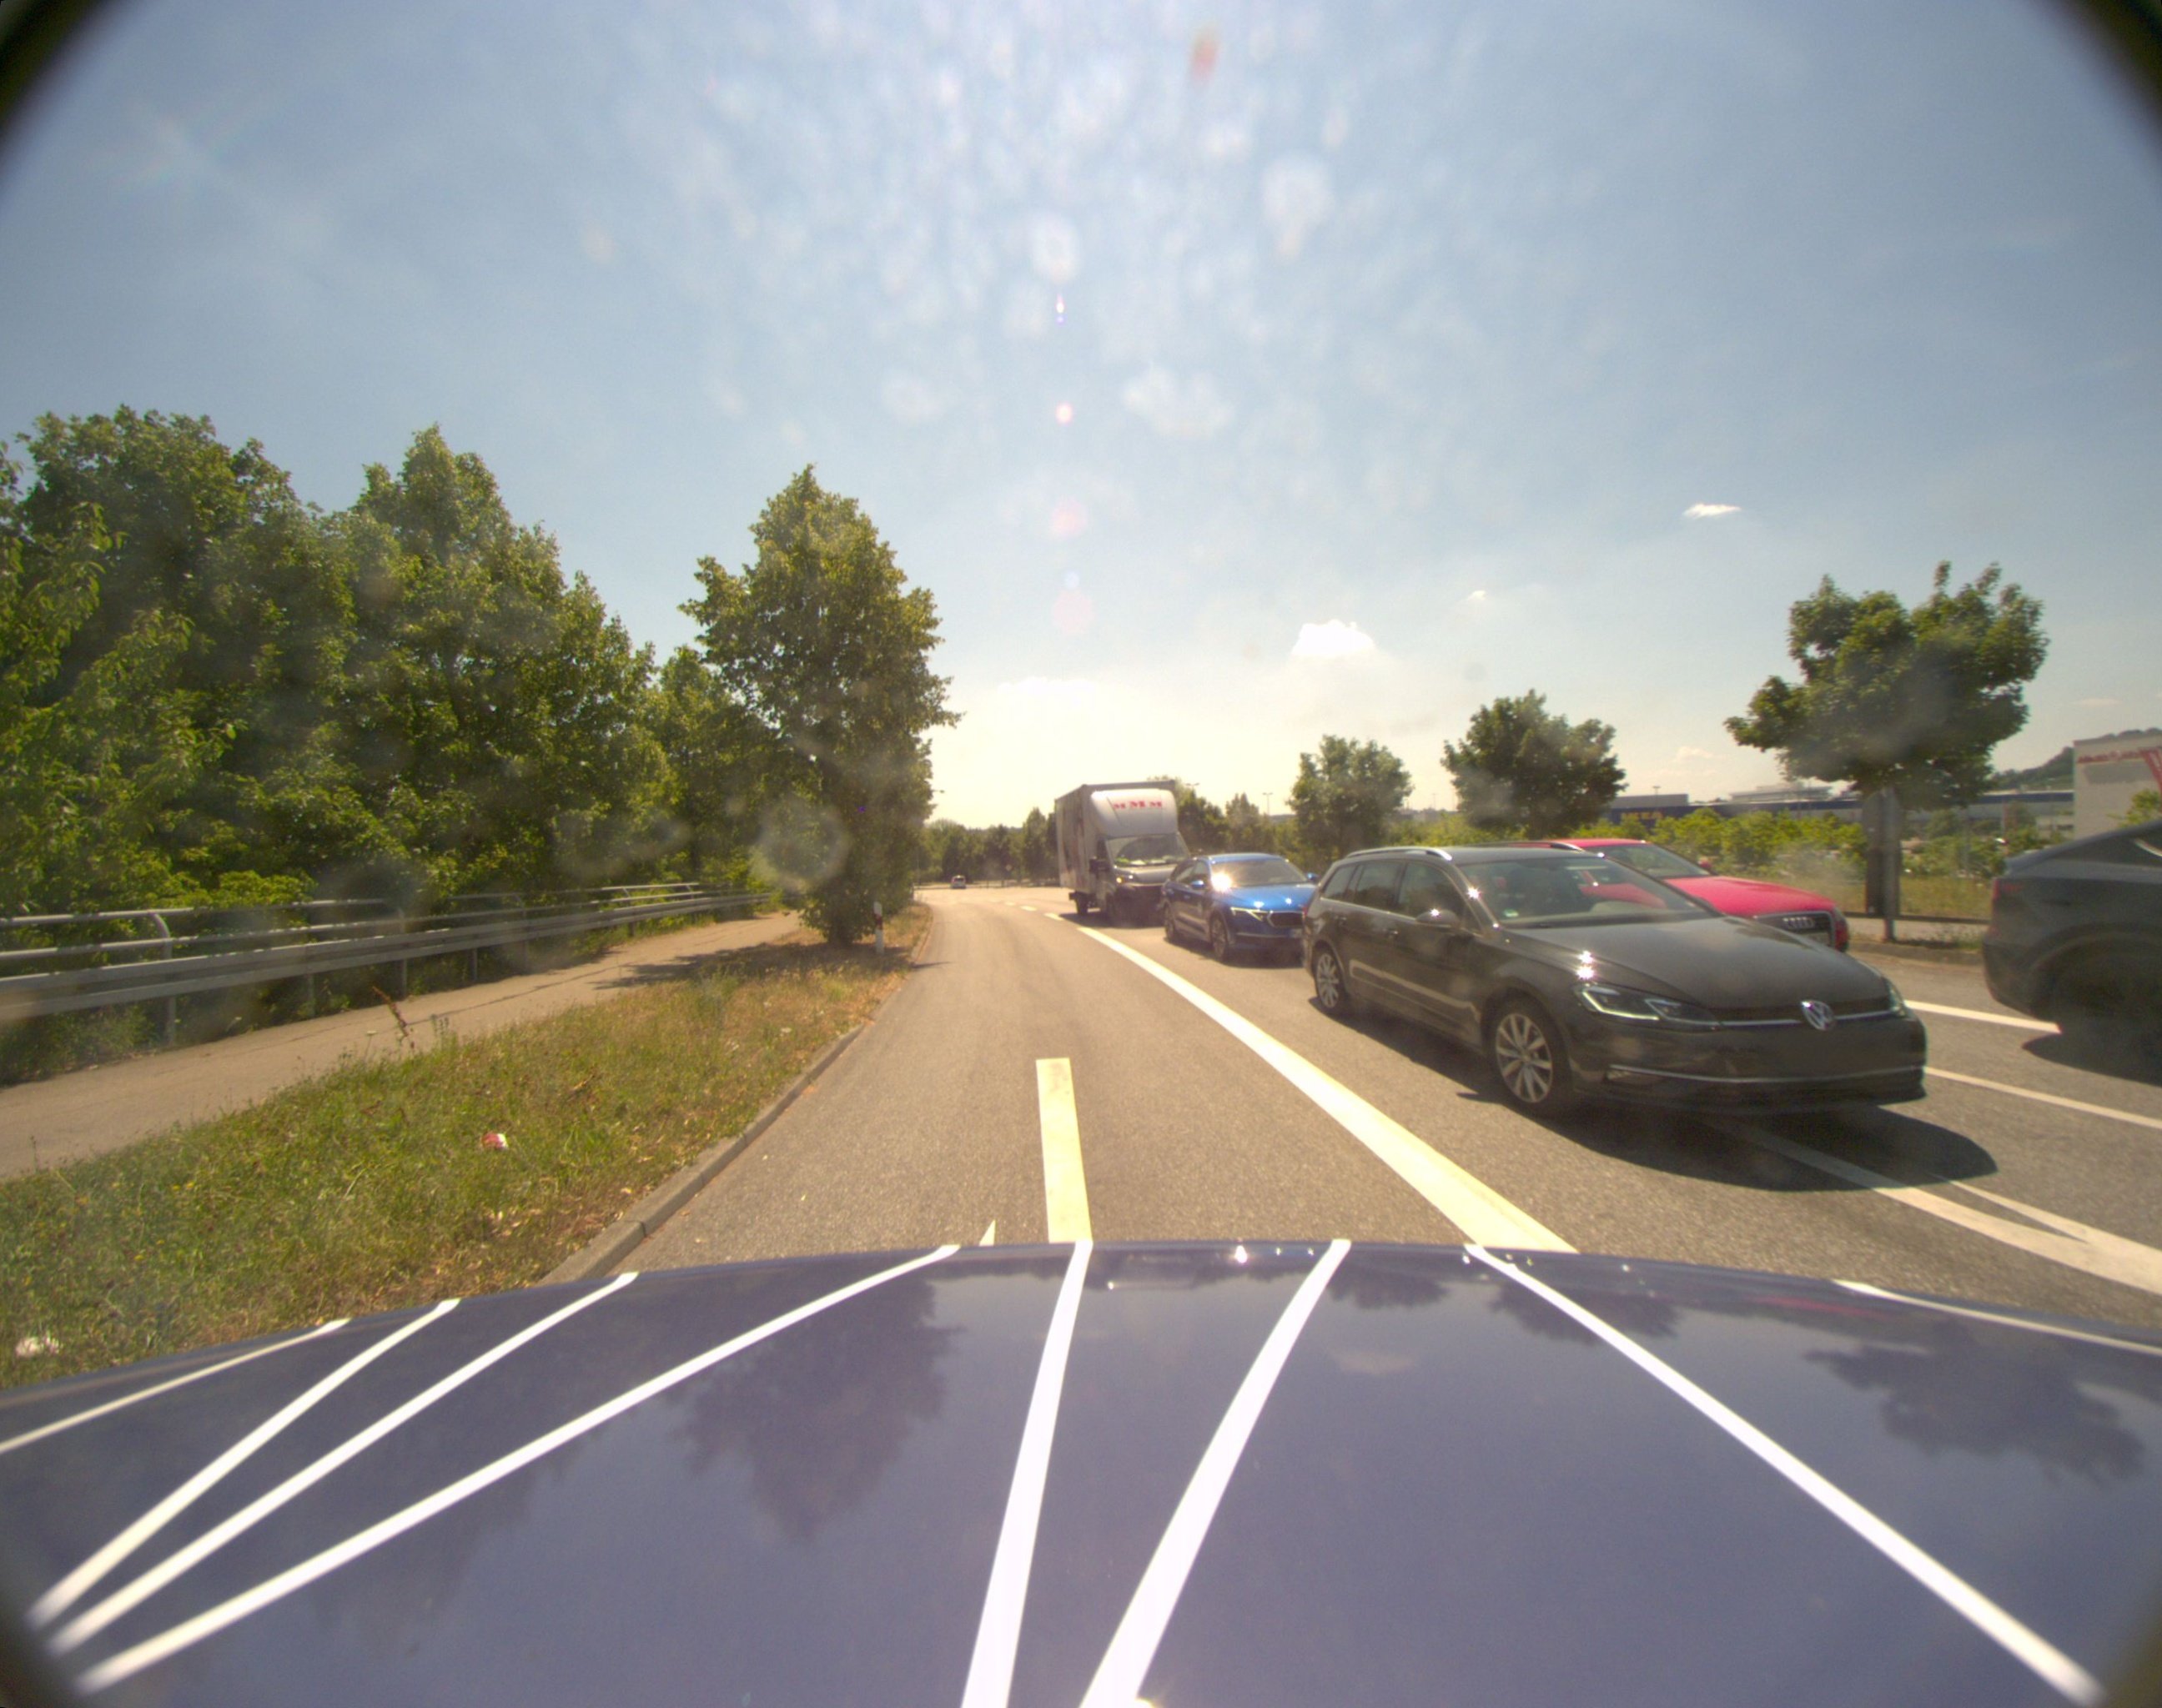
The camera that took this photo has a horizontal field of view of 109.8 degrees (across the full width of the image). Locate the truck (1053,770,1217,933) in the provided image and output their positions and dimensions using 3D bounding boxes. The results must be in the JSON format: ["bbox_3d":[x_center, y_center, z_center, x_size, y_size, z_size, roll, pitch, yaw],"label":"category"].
[{"bbox_3d":[1.022,-0.001,19.470,2.416,3.327,7.198,-3,-1,-10],"label":"truck"}]

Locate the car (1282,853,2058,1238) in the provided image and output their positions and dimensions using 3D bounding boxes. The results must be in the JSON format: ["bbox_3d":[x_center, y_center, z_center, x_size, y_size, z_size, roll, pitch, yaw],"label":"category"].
[{"bbox_3d":[3.065,0.776,5.351,1.783,1.474,4.427,-2,1,-4],"label":"car"}]

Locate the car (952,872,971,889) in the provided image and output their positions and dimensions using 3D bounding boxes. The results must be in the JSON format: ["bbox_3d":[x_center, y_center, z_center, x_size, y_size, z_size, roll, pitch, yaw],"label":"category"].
[{"bbox_3d":[-15.939,3.507,101.311,2.001,1.949,3.994,-2,1,-15],"label":"car"}]

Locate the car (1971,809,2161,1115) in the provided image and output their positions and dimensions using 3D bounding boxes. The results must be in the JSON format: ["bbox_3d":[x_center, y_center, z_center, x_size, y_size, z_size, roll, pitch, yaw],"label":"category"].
[{"bbox_3d":[6.689,0.549,2.579,1.880,1.592,4.503,-2,1,-5],"label":"car"}]

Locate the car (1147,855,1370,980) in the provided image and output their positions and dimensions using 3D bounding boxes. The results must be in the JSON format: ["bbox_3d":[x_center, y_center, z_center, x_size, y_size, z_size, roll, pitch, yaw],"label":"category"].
[{"bbox_3d":[2.423,0.813,11.678,1.713,1.454,4.486,-3,0,-9],"label":"car"}]

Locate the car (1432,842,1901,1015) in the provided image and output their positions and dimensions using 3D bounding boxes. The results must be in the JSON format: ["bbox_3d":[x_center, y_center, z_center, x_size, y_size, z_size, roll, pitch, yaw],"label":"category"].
[{"bbox_3d":[6.079,0.610,8.737,1.665,1.380,4.447,-3,1,-5],"label":"car"}]
